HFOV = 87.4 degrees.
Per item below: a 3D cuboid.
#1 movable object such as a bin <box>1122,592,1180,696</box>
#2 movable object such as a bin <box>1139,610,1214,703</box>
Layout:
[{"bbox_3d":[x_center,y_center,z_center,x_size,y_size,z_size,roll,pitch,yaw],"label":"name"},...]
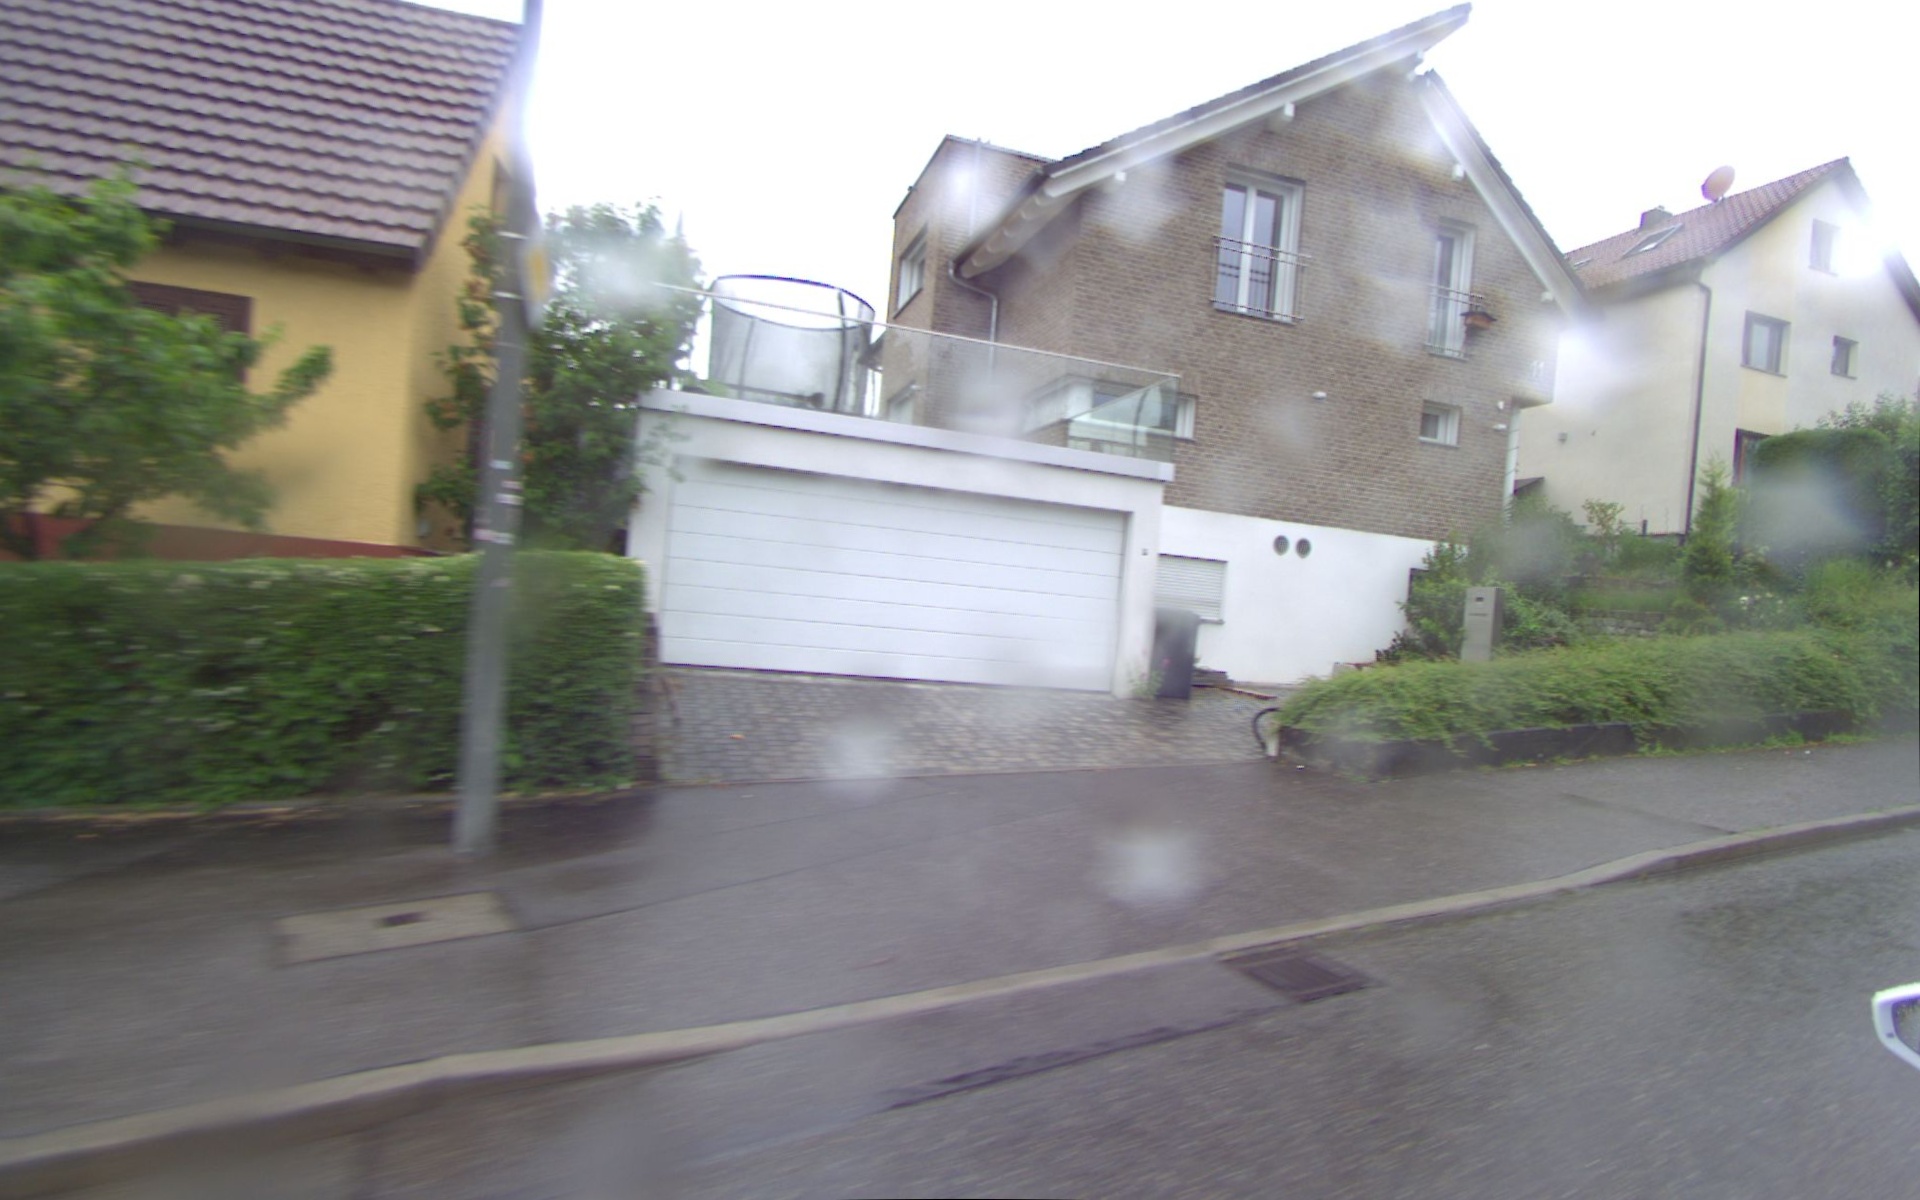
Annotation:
[{"bbox_3d":[2.461,0.560,12.970,0.546,1.320,0.496,1,0,-16],"label":"movable object such as a bin"},{"bbox_3d":[2.639,0.684,12.283,0.700,1.089,0.560,2,0,-16],"label":"movable object such as a bin"}]
